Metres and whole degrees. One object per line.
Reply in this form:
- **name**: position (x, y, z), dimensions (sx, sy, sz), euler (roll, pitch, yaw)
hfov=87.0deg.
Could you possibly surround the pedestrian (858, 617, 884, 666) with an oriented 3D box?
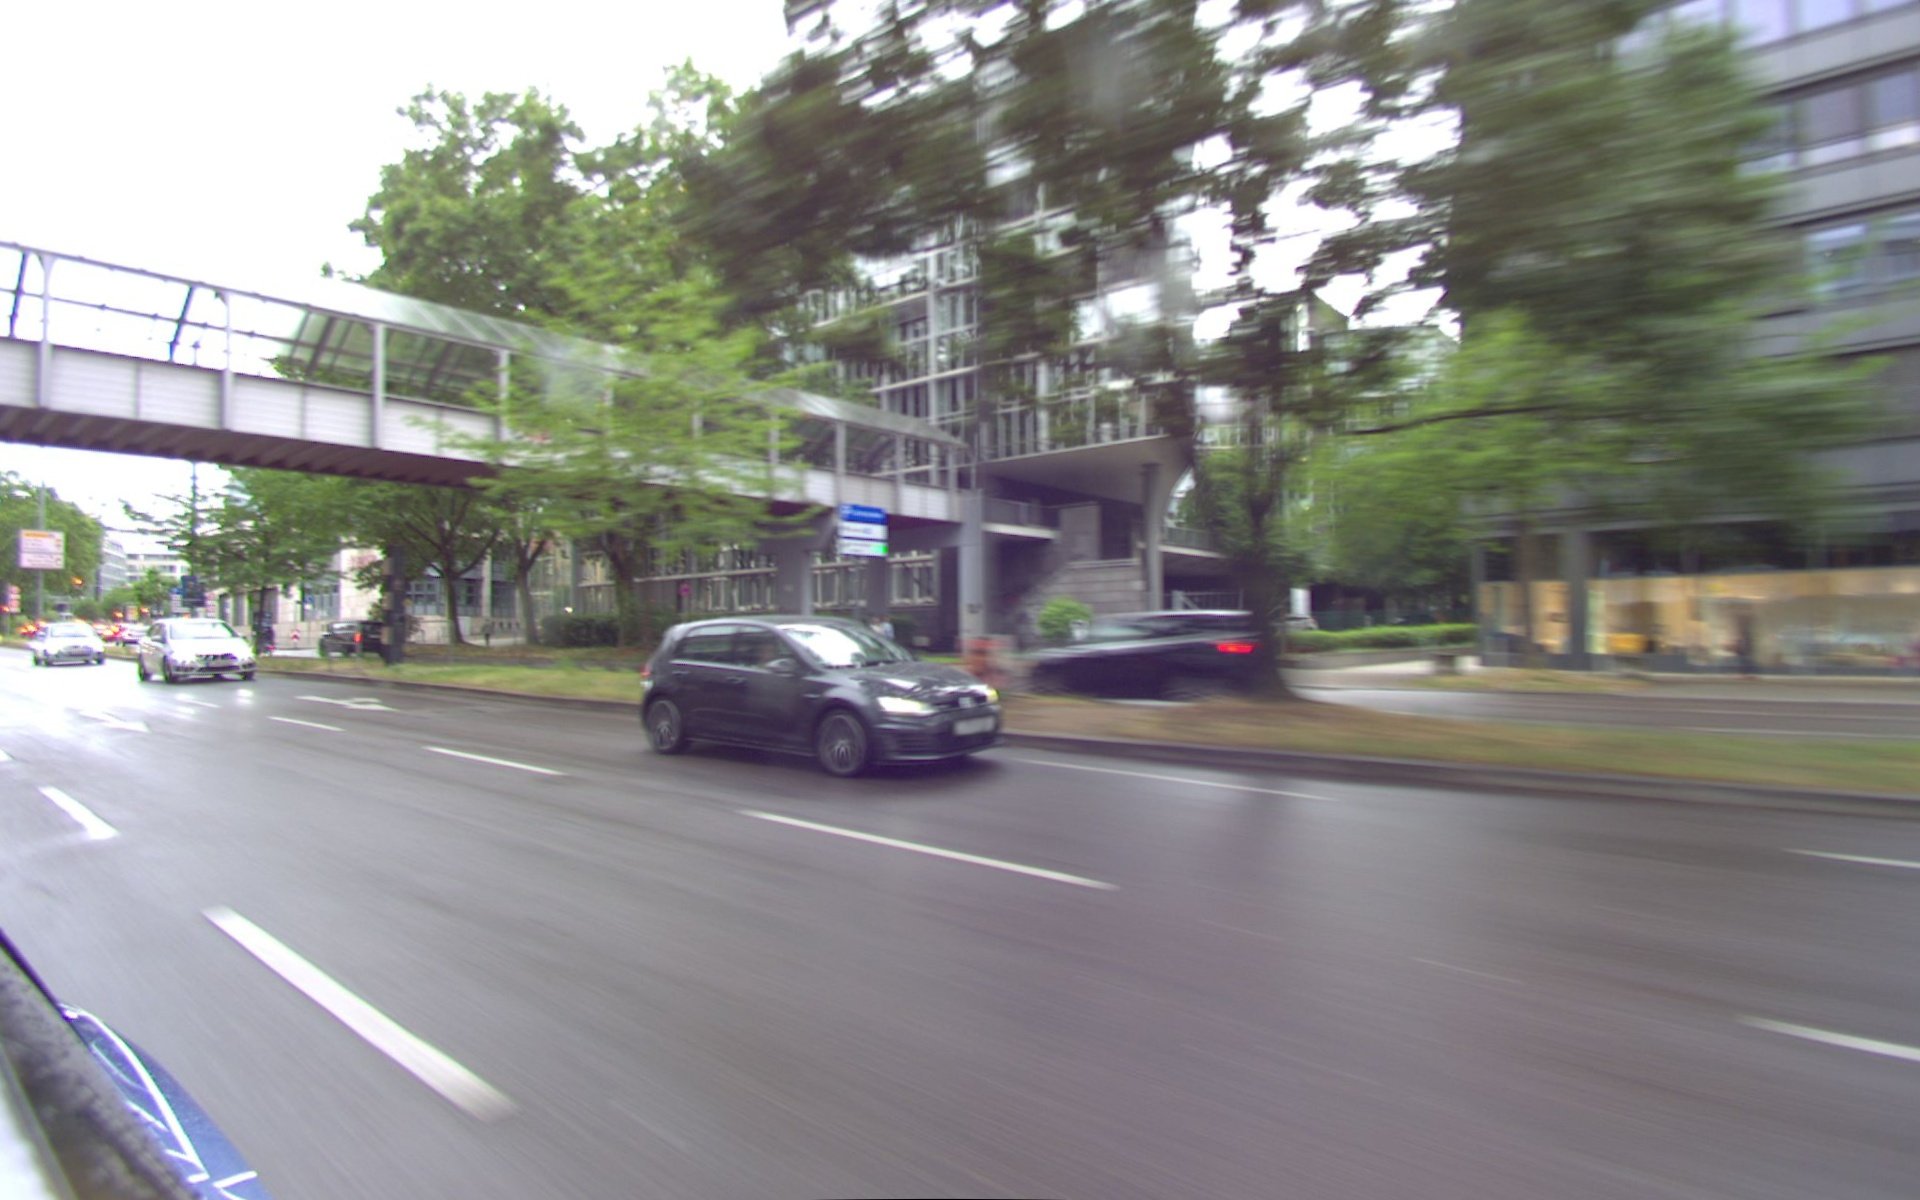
- **pedestrian**: position (-3.347, 1.563, 38.132), dimensions (0.759, 1.821, 0.590), euler (-3, -2, 41)

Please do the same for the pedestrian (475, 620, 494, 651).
- **pedestrian**: position (-28.014, 2.111, 59.639), dimensions (0.802, 1.821, 0.727), euler (-2, -2, 41)

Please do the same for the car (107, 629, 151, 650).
- **car**: position (-59.693, 2.835, 72.668), dimensions (4.077, 1.475, 1.645), euler (-1, -4, 39)

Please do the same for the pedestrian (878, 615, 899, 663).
- **pedestrian**: position (-2.738, 1.486, 38.904), dimensions (0.511, 1.821, 0.599), euler (-3, -2, 41)

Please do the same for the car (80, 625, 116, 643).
- **car**: position (-73.997, 2.901, 86.816), dimensions (4.757, 1.449, 1.673), euler (-1, -2, 41)

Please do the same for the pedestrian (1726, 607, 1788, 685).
- **pedestrian**: position (18.276, 1.040, 23.216), dimensions (1.056, 1.729, 0.735), euler (-2, -2, 40)

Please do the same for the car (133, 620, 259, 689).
- **car**: position (-19.467, 1.310, 25.725), dimensions (3.998, 1.608, 1.758), euler (-1, -1, 41)

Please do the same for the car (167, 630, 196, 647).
- **car**: position (-67.537, 3.322, 87.789), dimensions (1.574, 1.426, 3.403), euler (1, -2, -44)

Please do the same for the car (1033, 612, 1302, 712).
- **car**: position (3.043, 0.859, 15.112), dimensions (3.611, 1.321, 1.609), euler (-1, -2, 36)

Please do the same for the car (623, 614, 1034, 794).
- **car**: position (-1.451, 0.911, 10.276), dimensions (4.117, 1.463, 1.767), euler (-2, -2, 38)

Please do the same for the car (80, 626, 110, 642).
- **car**: position (-81.092, 3.187, 94.848), dimensions (4.397, 1.443, 1.707), euler (-1, -2, 45)

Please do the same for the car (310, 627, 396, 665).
- **car**: position (-30.414, 2.304, 50.684), dimensions (5.180, 1.782, 1.980), euler (-2, -5, 39)

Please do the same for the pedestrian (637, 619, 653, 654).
- **pedestrian**: position (-15.431, 1.772, 49.539), dimensions (0.511, 1.699, 0.553), euler (-3, -2, 41)

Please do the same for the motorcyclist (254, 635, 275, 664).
- **motorcyclist**: position (-35.063, 2.482, 51.032), dimensions (0.969, 1.429, 0.631), euler (-1, -2, 41)

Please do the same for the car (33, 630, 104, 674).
- **car**: position (-32.454, 1.843, 36.809), dimensions (3.494, 1.452, 1.590), euler (-1, 0, 43)

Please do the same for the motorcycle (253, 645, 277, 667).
- **motorcycle**: position (-35.004, 2.816, 50.980), dimensions (1.804, 1.029, 0.578), euler (-2, -2, 42)

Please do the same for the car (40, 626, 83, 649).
- **car**: position (-67.169, 2.773, 75.639), dimensions (4.678, 1.693, 1.854), euler (-1, -2, 41)

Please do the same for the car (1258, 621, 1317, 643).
- **car**: position (21.677, 2.124, 67.088), dimensions (3.458, 1.434, 1.607), euler (-1, -2, 12)
